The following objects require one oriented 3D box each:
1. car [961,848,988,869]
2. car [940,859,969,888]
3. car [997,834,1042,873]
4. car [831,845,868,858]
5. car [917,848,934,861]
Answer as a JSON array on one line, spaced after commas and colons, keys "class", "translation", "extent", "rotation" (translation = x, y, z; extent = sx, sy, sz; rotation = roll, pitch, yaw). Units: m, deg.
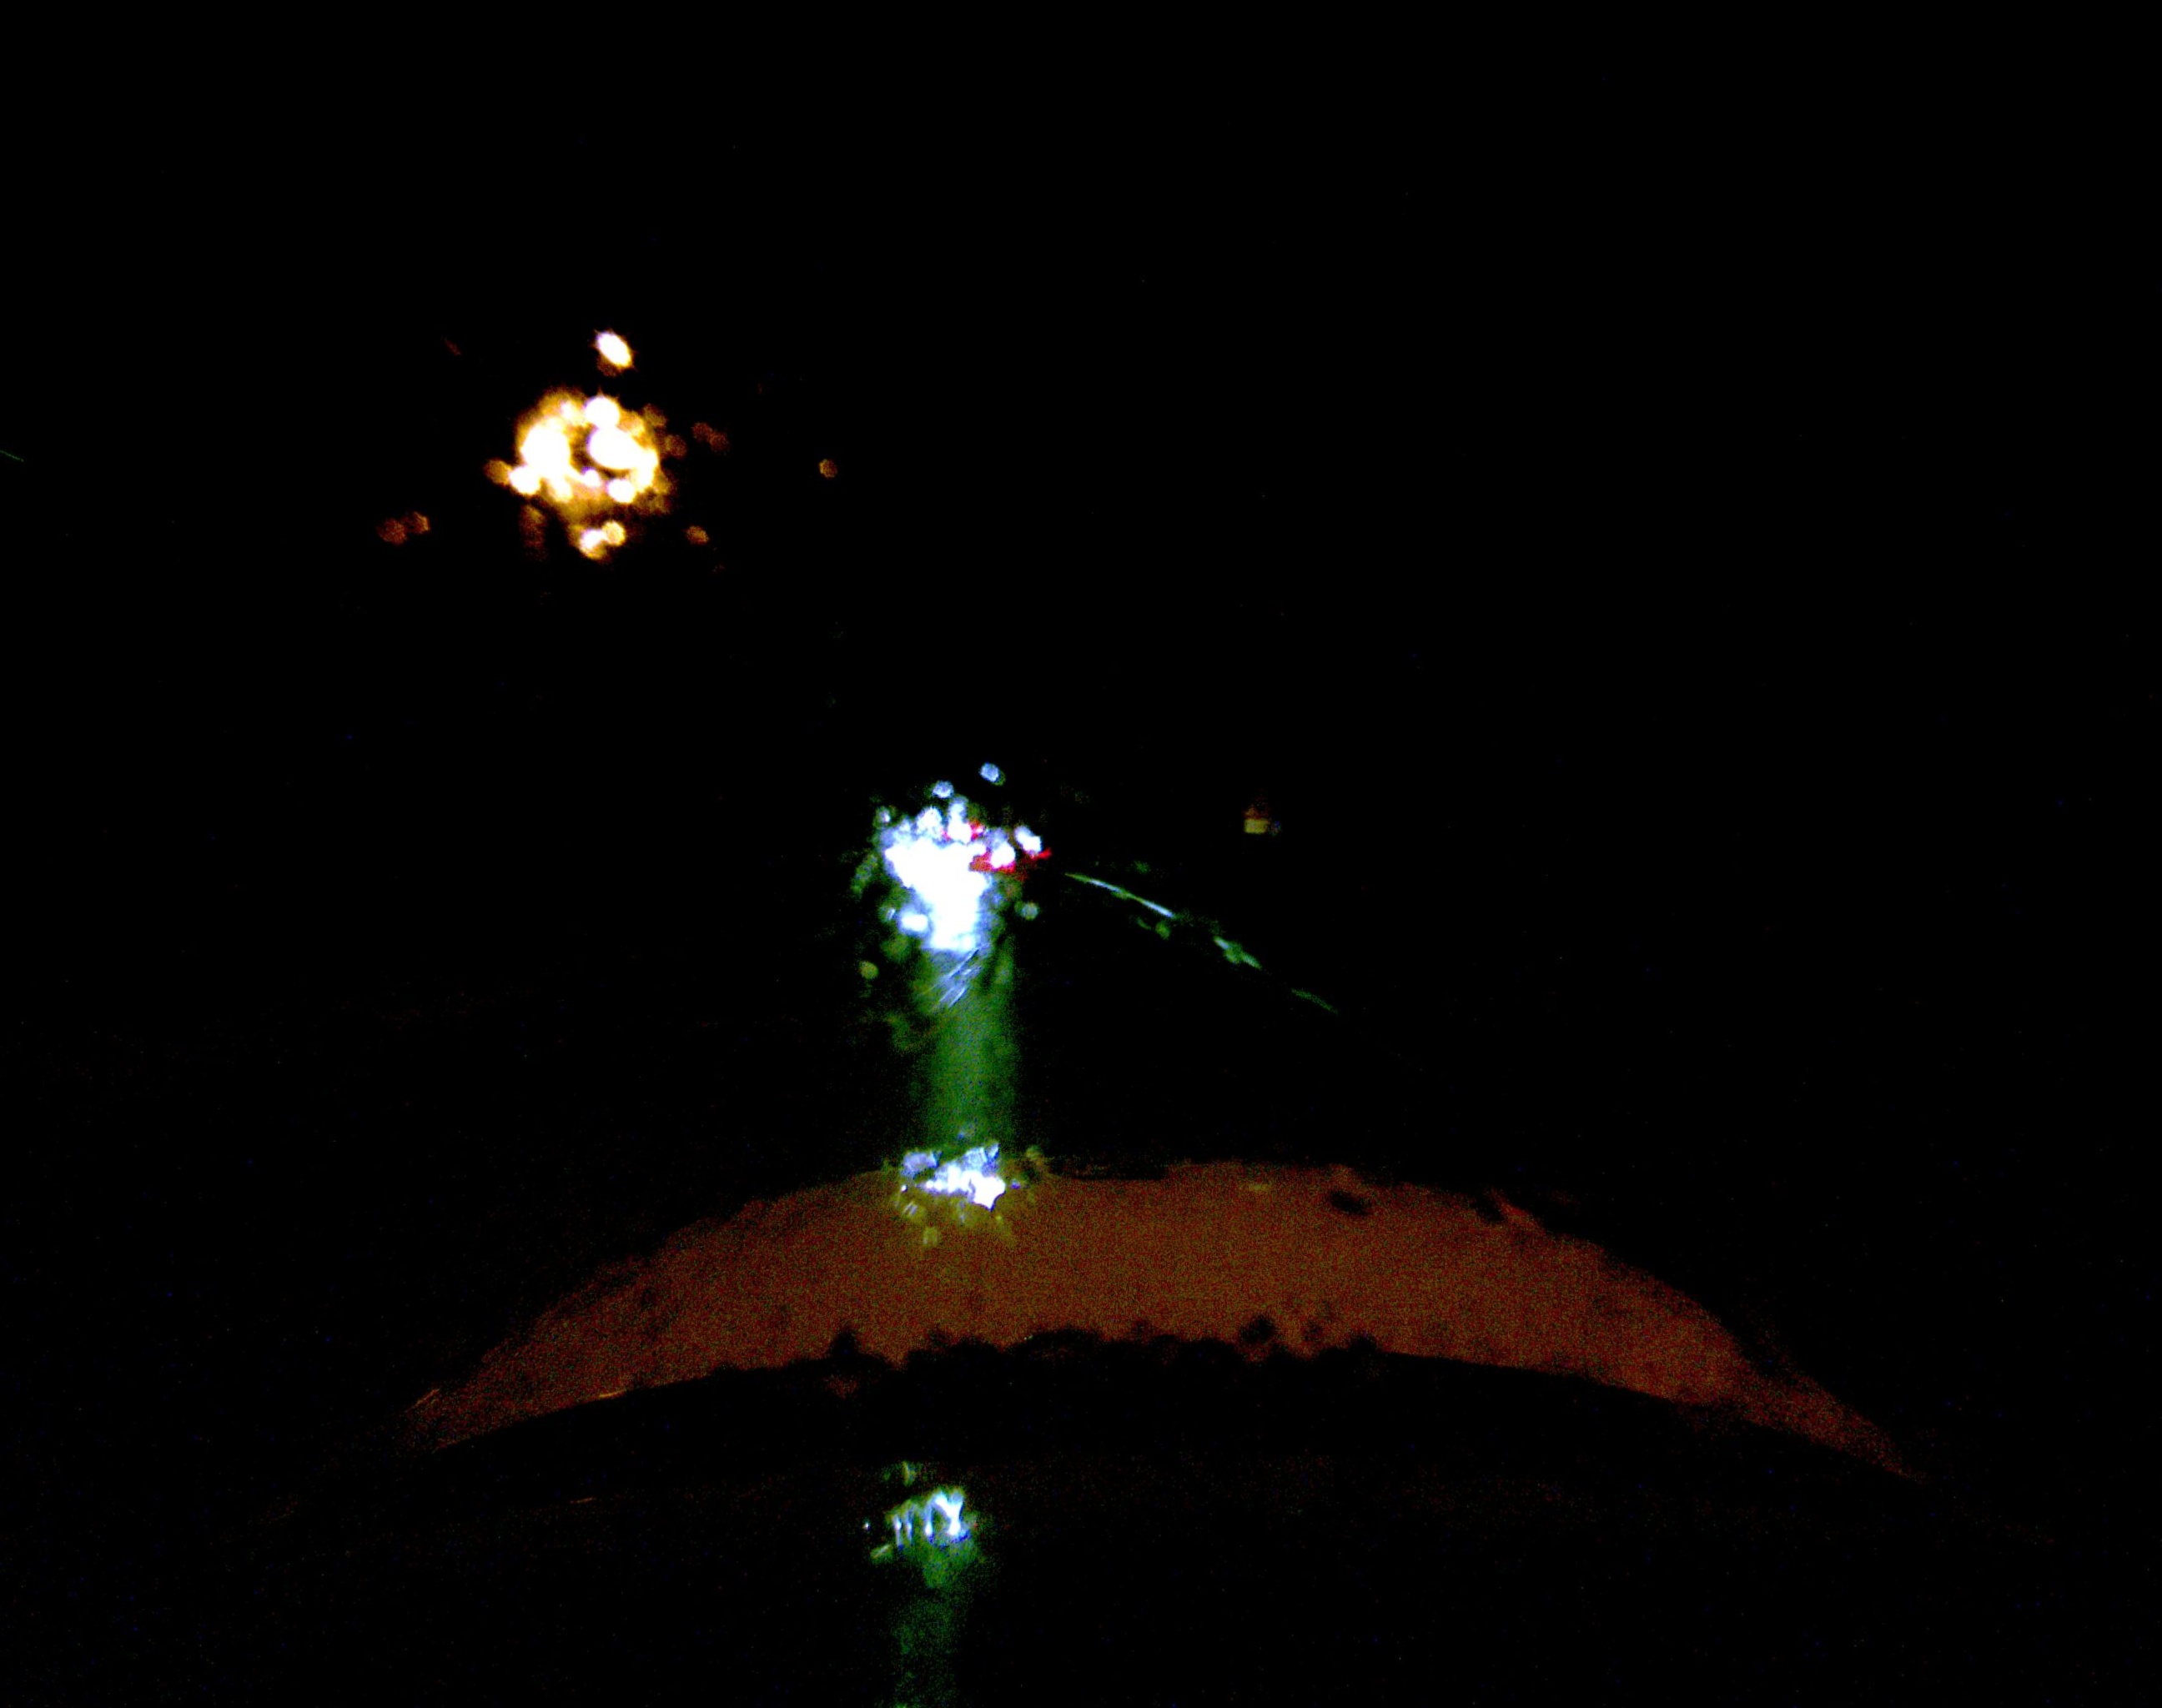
[{"class": "car", "translation": [-10.757, 0.485, 81.986], "extent": [1.998, 2.014, 3.976], "rotation": [1, -3, -17]}, {"class": "car", "translation": [-9.307, 1.432, 60.138], "extent": [1.993, 2.014, 4.830], "rotation": [1, -2, -8]}, {"class": "car", "translation": [-4.281, -0.087, 55.727], "extent": [2.539, 2.498, 5.695], "rotation": [-1, 1, -10]}, {"class": "car", "translation": [-32.444, -0.375, 114.135], "extent": [4.929, 1.734, 1.987], "rotation": [-1, 1, -20]}, {"class": "car", "translation": [-18.267, 0.047, 95.812], "extent": [1.638, 1.509, 4.074], "rotation": [-2, 0, -15]}]
